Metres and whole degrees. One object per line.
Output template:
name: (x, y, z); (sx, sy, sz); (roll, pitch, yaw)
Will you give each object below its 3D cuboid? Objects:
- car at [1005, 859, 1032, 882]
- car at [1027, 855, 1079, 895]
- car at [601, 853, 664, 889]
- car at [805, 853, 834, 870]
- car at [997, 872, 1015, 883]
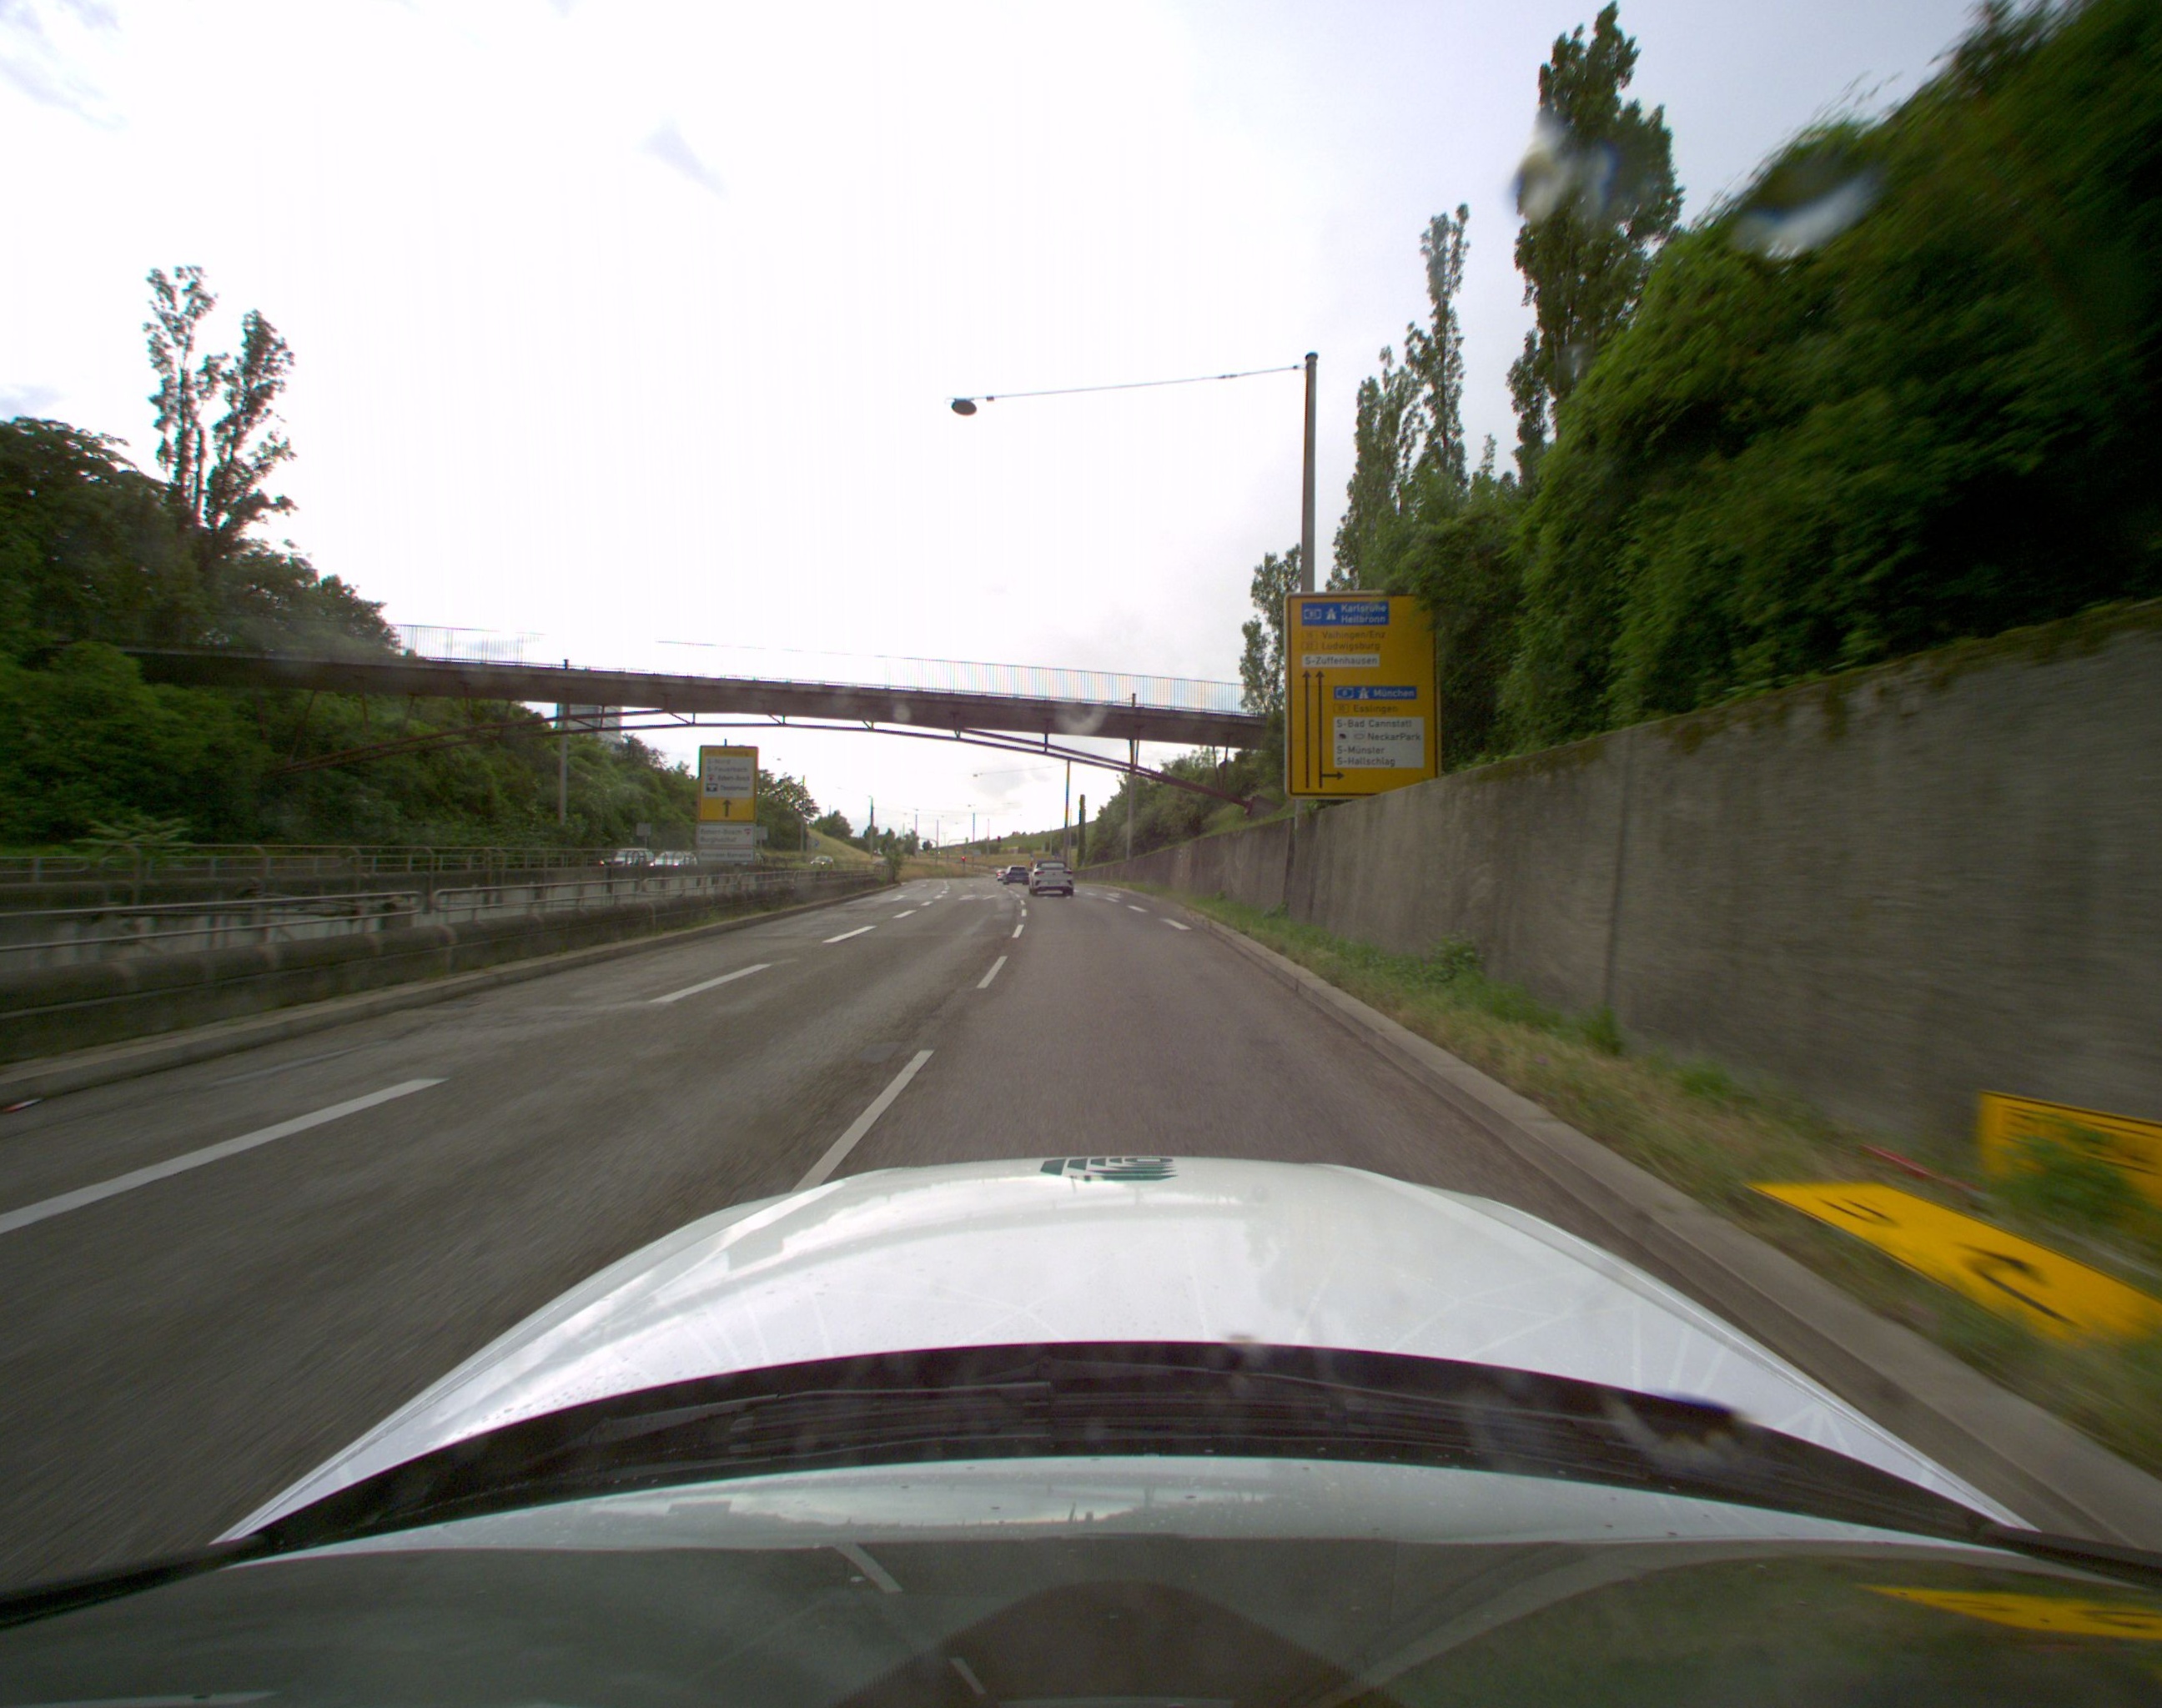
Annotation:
car: (-4.811, 1.269, 62.151); (1.923, 1.599, 4.052); (1, -3, -6)
car: (-1.306, 0.871, 36.087); (1.993, 1.578, 4.116); (-2, 0, -6)
car: (-25.880, 0.981, 47.171); (1.670, 1.916, 4.546); (-1, -1, -8)
car: (-30.507, 0.882, 95.218); (1.988, 1.835, 4.627); (1, -2, -1)
car: (-10.708, 3.399, 116.135); (1.766, 1.519, 3.729); (3, -2, 5)
